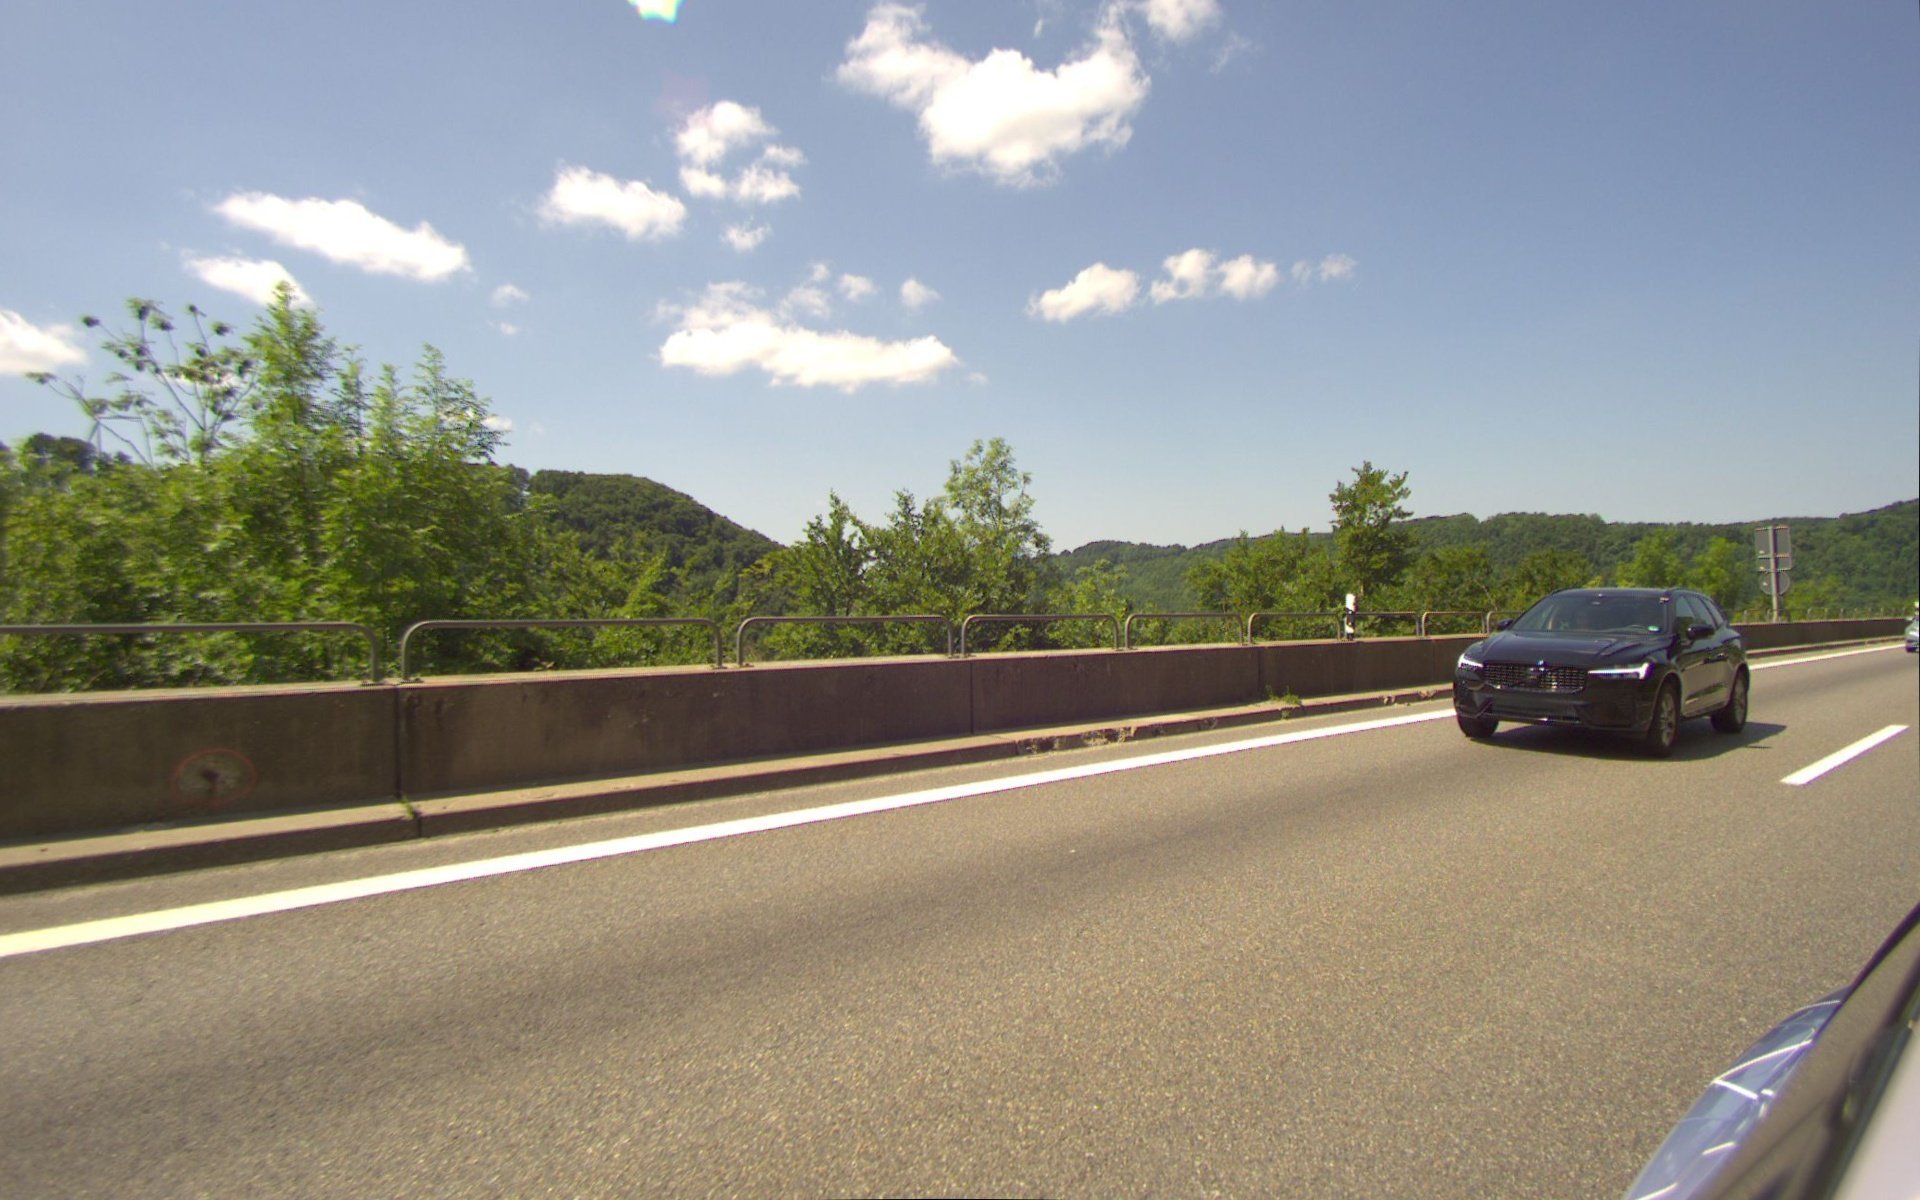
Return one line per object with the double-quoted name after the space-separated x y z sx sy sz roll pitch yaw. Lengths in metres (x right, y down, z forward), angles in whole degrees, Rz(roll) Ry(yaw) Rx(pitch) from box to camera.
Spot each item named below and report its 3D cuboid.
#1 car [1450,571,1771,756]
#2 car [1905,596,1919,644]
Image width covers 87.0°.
7.353 0.578 11.237 4.581 1.654 1.838 1 0 -42 "car"
30.254 0.585 30.385 4.213 1.395 1.974 -1 1 -36 "car"
